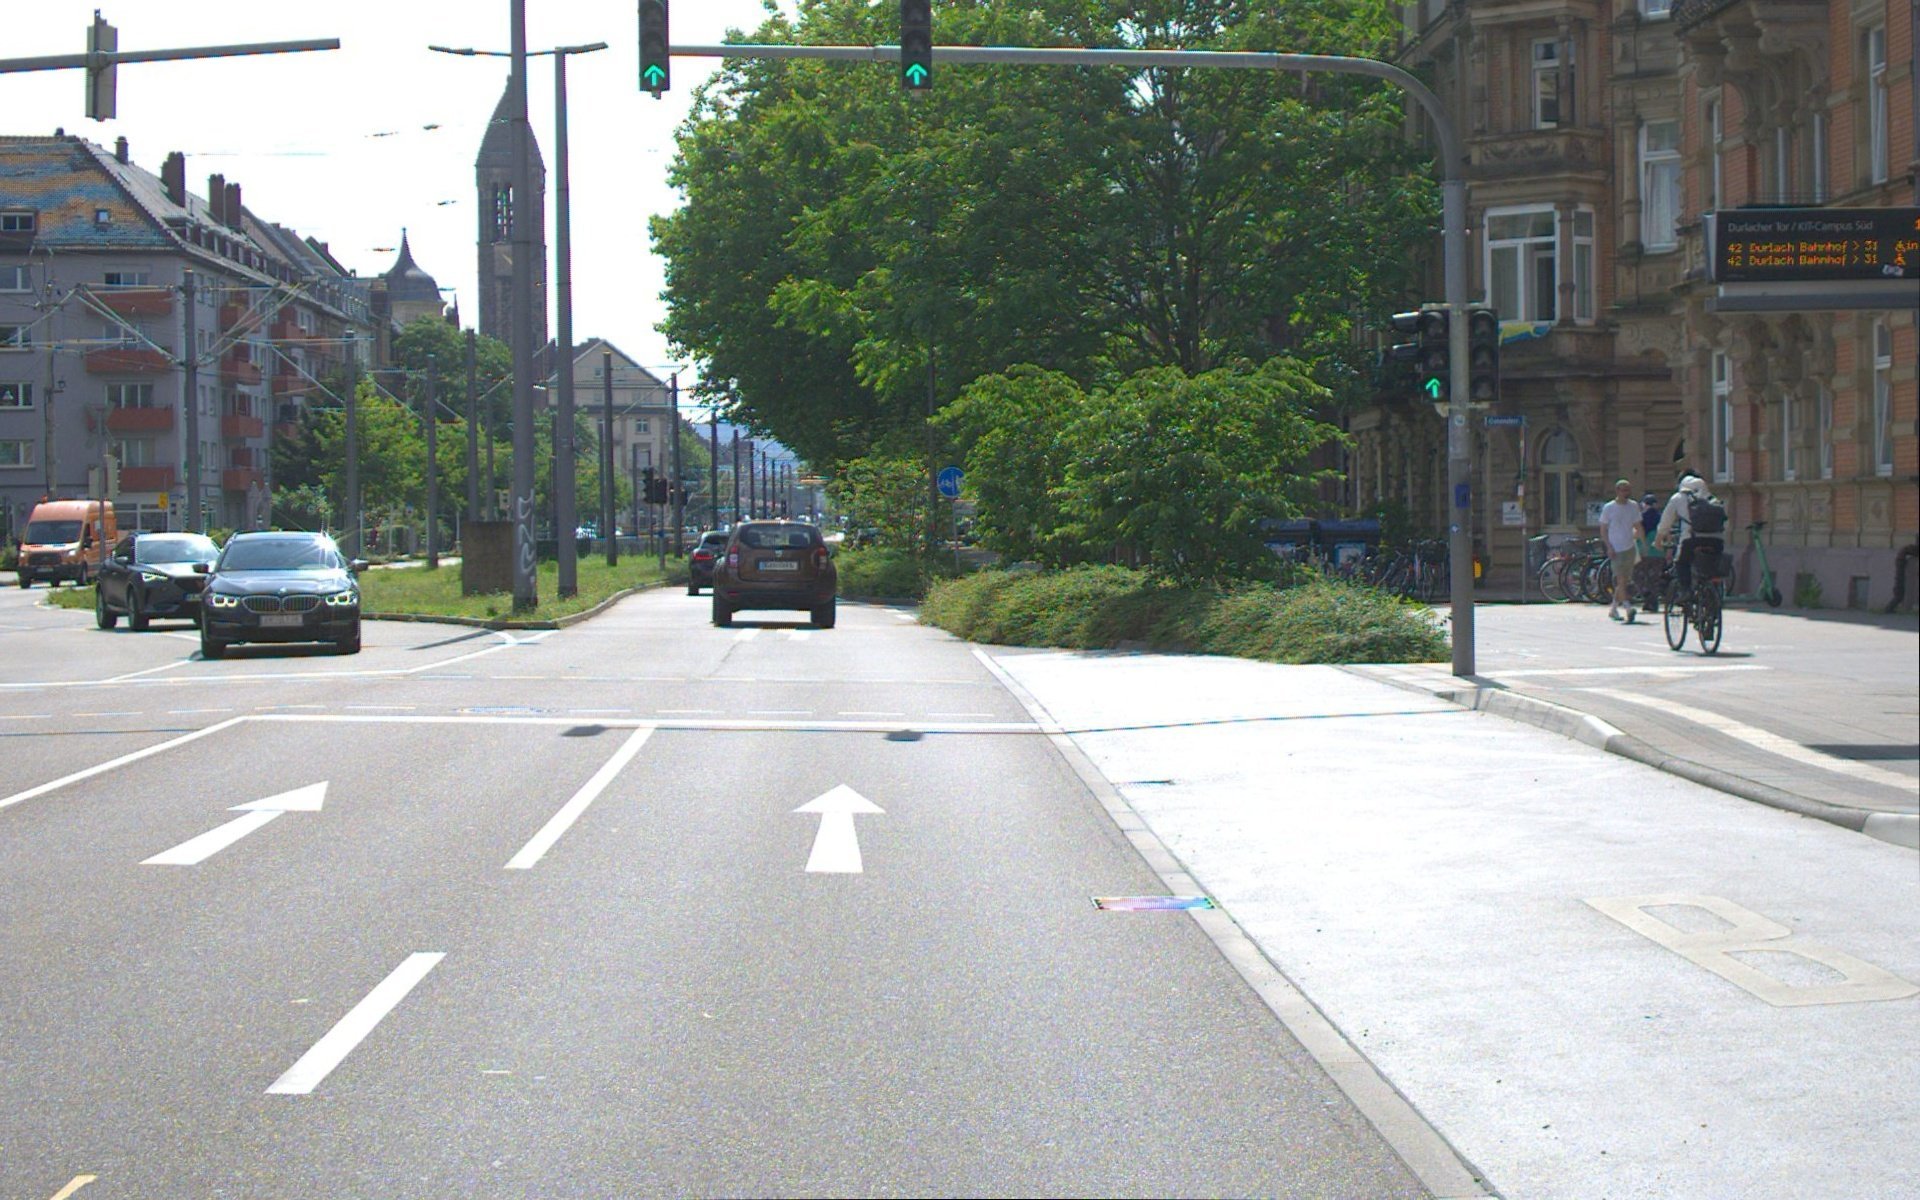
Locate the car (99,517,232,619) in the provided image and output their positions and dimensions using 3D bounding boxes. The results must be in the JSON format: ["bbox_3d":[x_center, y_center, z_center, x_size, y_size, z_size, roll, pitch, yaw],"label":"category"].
[{"bbox_3d":[-12.690,-0.536,54.760,1.798,1.546,4.297,0,1,-17],"label":"car"}]

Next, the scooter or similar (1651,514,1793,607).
[{"bbox_3d":[10.295,-0.536,46.471,1.769,1.181,0.466,-3,1,-1],"label":"scooter or similar"}]

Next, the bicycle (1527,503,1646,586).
[{"bbox_3d":[9.761,-0.868,53.608,1.769,1.263,0.466,0,3,2],"label":"bicycle"}]

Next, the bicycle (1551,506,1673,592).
[{"bbox_3d":[9.850,-0.774,51.969,1.769,1.263,0.466,0,3,2],"label":"bicycle"}]

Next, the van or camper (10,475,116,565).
[{"bbox_3d":[-28.313,-2.521,108.663,2.255,2.728,6.205,-1,1,-6],"label":"van or camper"}]

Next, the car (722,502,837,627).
[{"bbox_3d":[-2.778,-0.574,52.746,1.688,1.705,3.610,-1,4,-3],"label":"car"}]

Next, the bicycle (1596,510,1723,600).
[{"bbox_3d":[10.106,-0.648,49.724,1.746,1.263,0.466,0,3,2],"label":"bicycle"}]

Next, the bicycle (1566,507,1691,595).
[{"bbox_3d":[9.950,-0.732,51.169,1.769,1.263,0.466,0,3,2],"label":"bicycle"}]

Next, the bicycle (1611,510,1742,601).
[{"bbox_3d":[10.235,-0.642,49.144,1.769,1.263,0.466,0,3,2],"label":"bicycle"}]

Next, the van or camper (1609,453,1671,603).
[{"bbox_3d":[9.240,-0.980,46.724,0.666,2.007,0.638,-1,1,-1],"label":"van or camper"}]

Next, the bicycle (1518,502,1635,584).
[{"bbox_3d":[9.728,-0.908,54.268,1.769,1.263,0.466,0,3,2],"label":"bicycle"}]

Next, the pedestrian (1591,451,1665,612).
[{"bbox_3d":[8.458,-0.873,43.539,0.768,2.007,0.715,-1,1,-1],"label":"pedestrian"}]

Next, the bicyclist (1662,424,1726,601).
[{"bbox_3d":[7.199,-0.857,33.725,0.427,1.712,0.828,-1,1,-1],"label":"bicyclist"}]

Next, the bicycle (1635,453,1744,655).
[{"bbox_3d":[7.136,-0.461,33.678,0.683,1.919,1.590,-1,1,-1],"label":"bicycle"}]

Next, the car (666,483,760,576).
[{"bbox_3d":[-5.559,-1.592,77.198,1.993,2.007,4.001,-1,1,-4],"label":"car"}]

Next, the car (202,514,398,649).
[{"bbox_3d":[-8.043,-0.265,42.259,1.817,1.546,4.561,-1,1,-4],"label":"car"}]

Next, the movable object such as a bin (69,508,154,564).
[{"bbox_3d":[-28.357,-2.154,115.030,2.206,1.687,3.718,-1,4,-5],"label":"movable object such as a bin"}]

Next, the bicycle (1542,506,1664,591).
[{"bbox_3d":[9.831,-0.785,52.593,1.769,1.263,0.466,0,3,2],"label":"bicycle"}]

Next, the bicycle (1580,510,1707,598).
[{"bbox_3d":[10.021,-0.680,50.400,1.769,1.263,0.466,0,3,2],"label":"bicycle"}]
